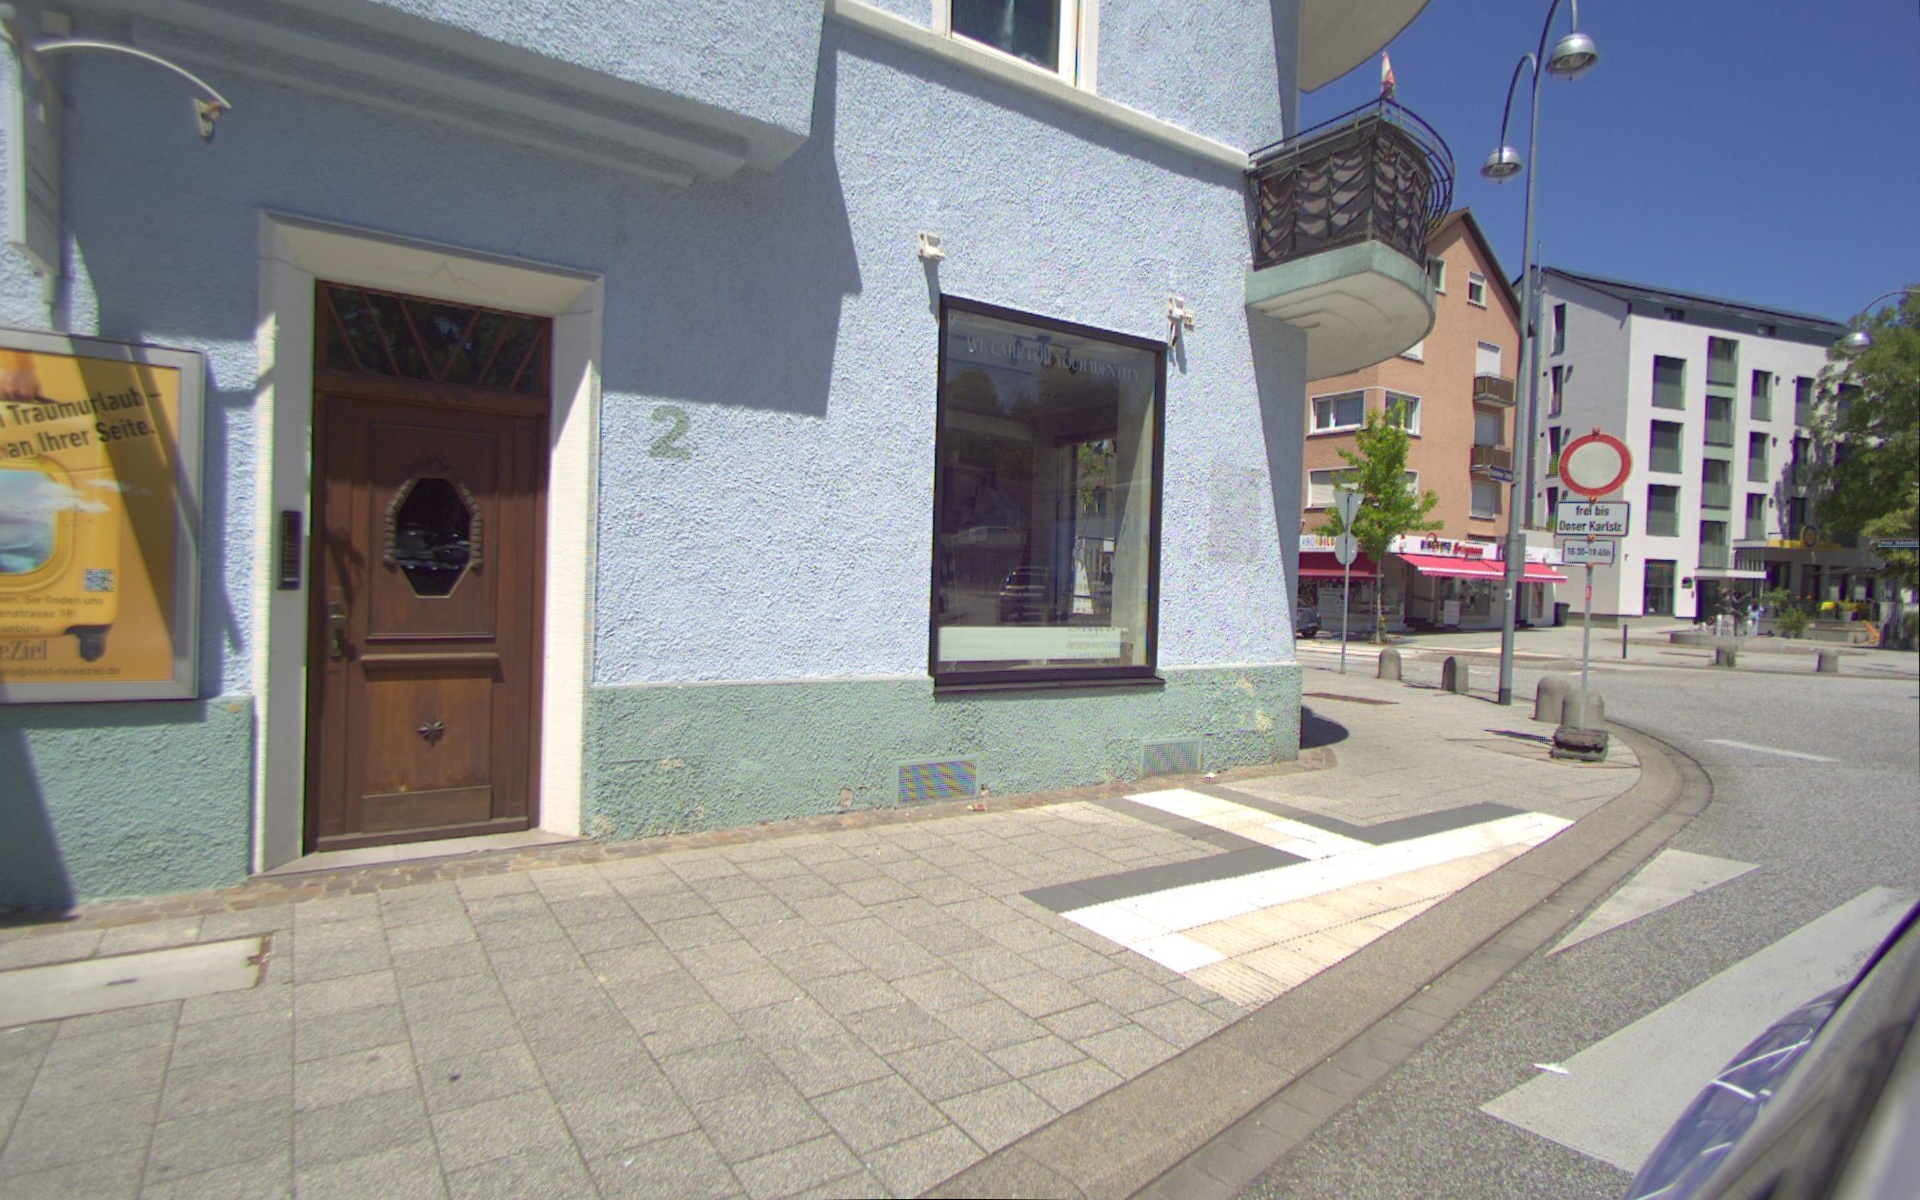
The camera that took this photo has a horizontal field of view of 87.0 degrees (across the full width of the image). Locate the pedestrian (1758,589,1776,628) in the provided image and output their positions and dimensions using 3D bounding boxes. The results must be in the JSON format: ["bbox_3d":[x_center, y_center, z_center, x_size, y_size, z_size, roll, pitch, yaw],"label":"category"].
[{"bbox_3d":[34.384,0.341,43.122,0.442,1.639,0.450,1,0,-36],"label":"pedestrian"}]

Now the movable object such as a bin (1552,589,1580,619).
[{"bbox_3d":[26.391,0.174,44.077,0.821,1.268,0.748,1,0,-32],"label":"movable object such as a bin"}]

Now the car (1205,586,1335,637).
[{"bbox_3d":[10.505,0.338,34.530,1.642,1.504,4.059,-2,3,-37],"label":"car"}]

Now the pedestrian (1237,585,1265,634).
[{"bbox_3d":[9.812,0.318,34.104,0.721,1.630,0.559,1,0,-38],"label":"pedestrian"}]
